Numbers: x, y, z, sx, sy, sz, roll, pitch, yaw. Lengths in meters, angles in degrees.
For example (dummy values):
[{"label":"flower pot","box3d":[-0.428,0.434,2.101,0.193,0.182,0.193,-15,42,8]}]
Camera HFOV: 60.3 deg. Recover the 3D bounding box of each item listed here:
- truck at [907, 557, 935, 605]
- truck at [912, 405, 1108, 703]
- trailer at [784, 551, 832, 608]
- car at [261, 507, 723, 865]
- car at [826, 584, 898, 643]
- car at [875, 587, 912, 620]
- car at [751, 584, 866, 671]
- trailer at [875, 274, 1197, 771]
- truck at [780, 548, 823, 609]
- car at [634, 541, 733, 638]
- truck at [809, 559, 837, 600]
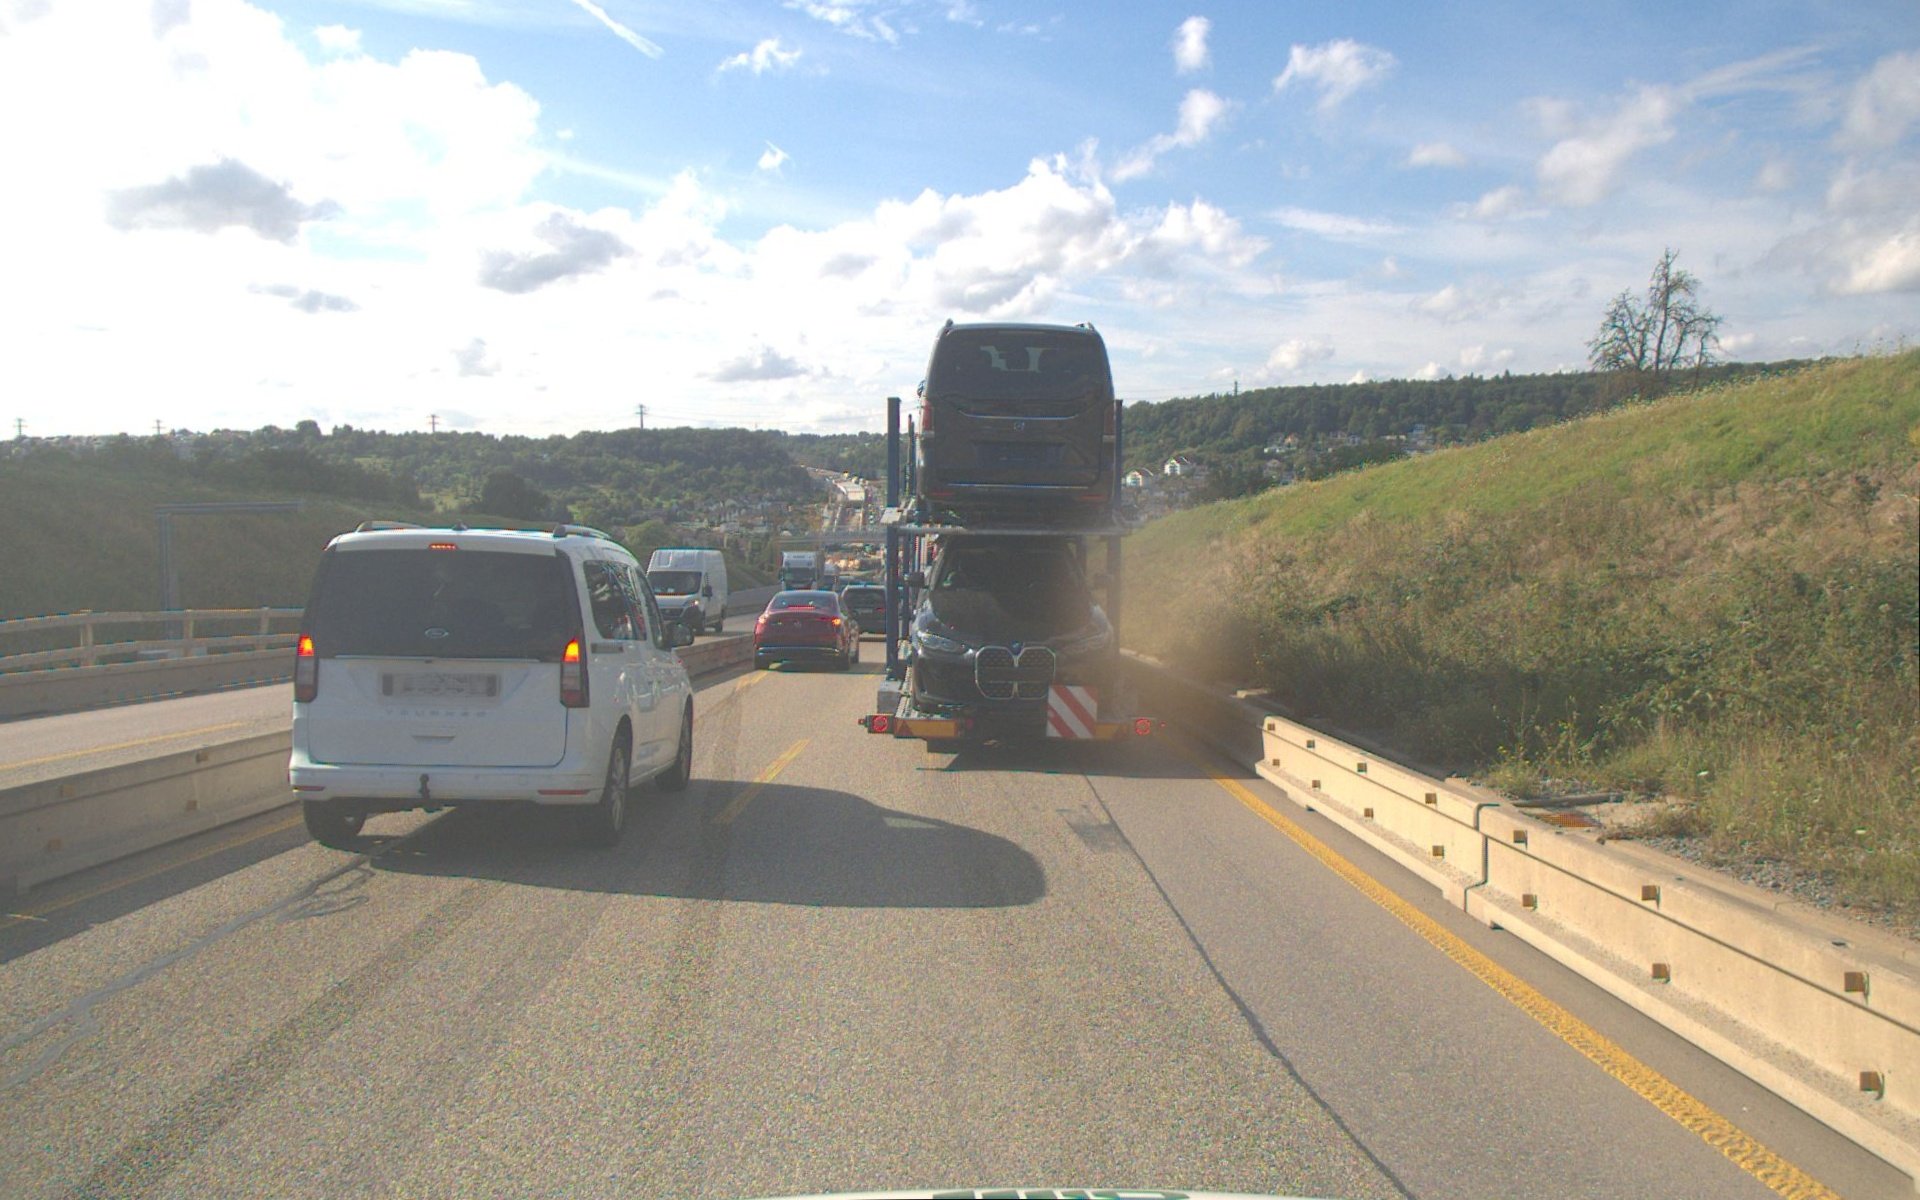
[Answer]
[{"label":"truck","box3d":[-3.963,-1.925,167.391,2.806,4.650,11.654,0,0,-2]},{"label":"truck","box3d":[0.601,-0.640,25.177,2.624,3.990,6.026,0,0,-1]},{"label":"trailer","box3d":[-11.281,-1.489,124.058,2.561,4.023,13.872,0,0,-1]},{"label":"car","box3d":[-2.795,0.429,10.979,1.786,1.855,4.456,1,1,0]},{"label":"car","box3d":[-2.915,0.370,50.097,1.953,1.653,4.749,1,1,-1]},{"label":"car","box3d":[-3.392,0.141,84.440,1.760,1.624,4.742,1,0,-1]},{"label":"car","box3d":[-2.884,0.467,32.303,1.786,1.518,4.684,1,1,0]},{"label":"trailer","box3d":[0.594,-0.678,19.350,2.653,4.099,11.418,0,0,0]},{"label":"truck","box3d":[-11.194,-1.499,117.196,2.561,4.226,5.780,0,0,-1]},{"label":"car","box3d":[-8.958,-0.341,54.095,2.067,2.885,6.138,-3,0,0]},{"label":"truck","box3d":[-14.589,-2.155,176.756,2.585,4.171,10.813,0,0,-2]}]
